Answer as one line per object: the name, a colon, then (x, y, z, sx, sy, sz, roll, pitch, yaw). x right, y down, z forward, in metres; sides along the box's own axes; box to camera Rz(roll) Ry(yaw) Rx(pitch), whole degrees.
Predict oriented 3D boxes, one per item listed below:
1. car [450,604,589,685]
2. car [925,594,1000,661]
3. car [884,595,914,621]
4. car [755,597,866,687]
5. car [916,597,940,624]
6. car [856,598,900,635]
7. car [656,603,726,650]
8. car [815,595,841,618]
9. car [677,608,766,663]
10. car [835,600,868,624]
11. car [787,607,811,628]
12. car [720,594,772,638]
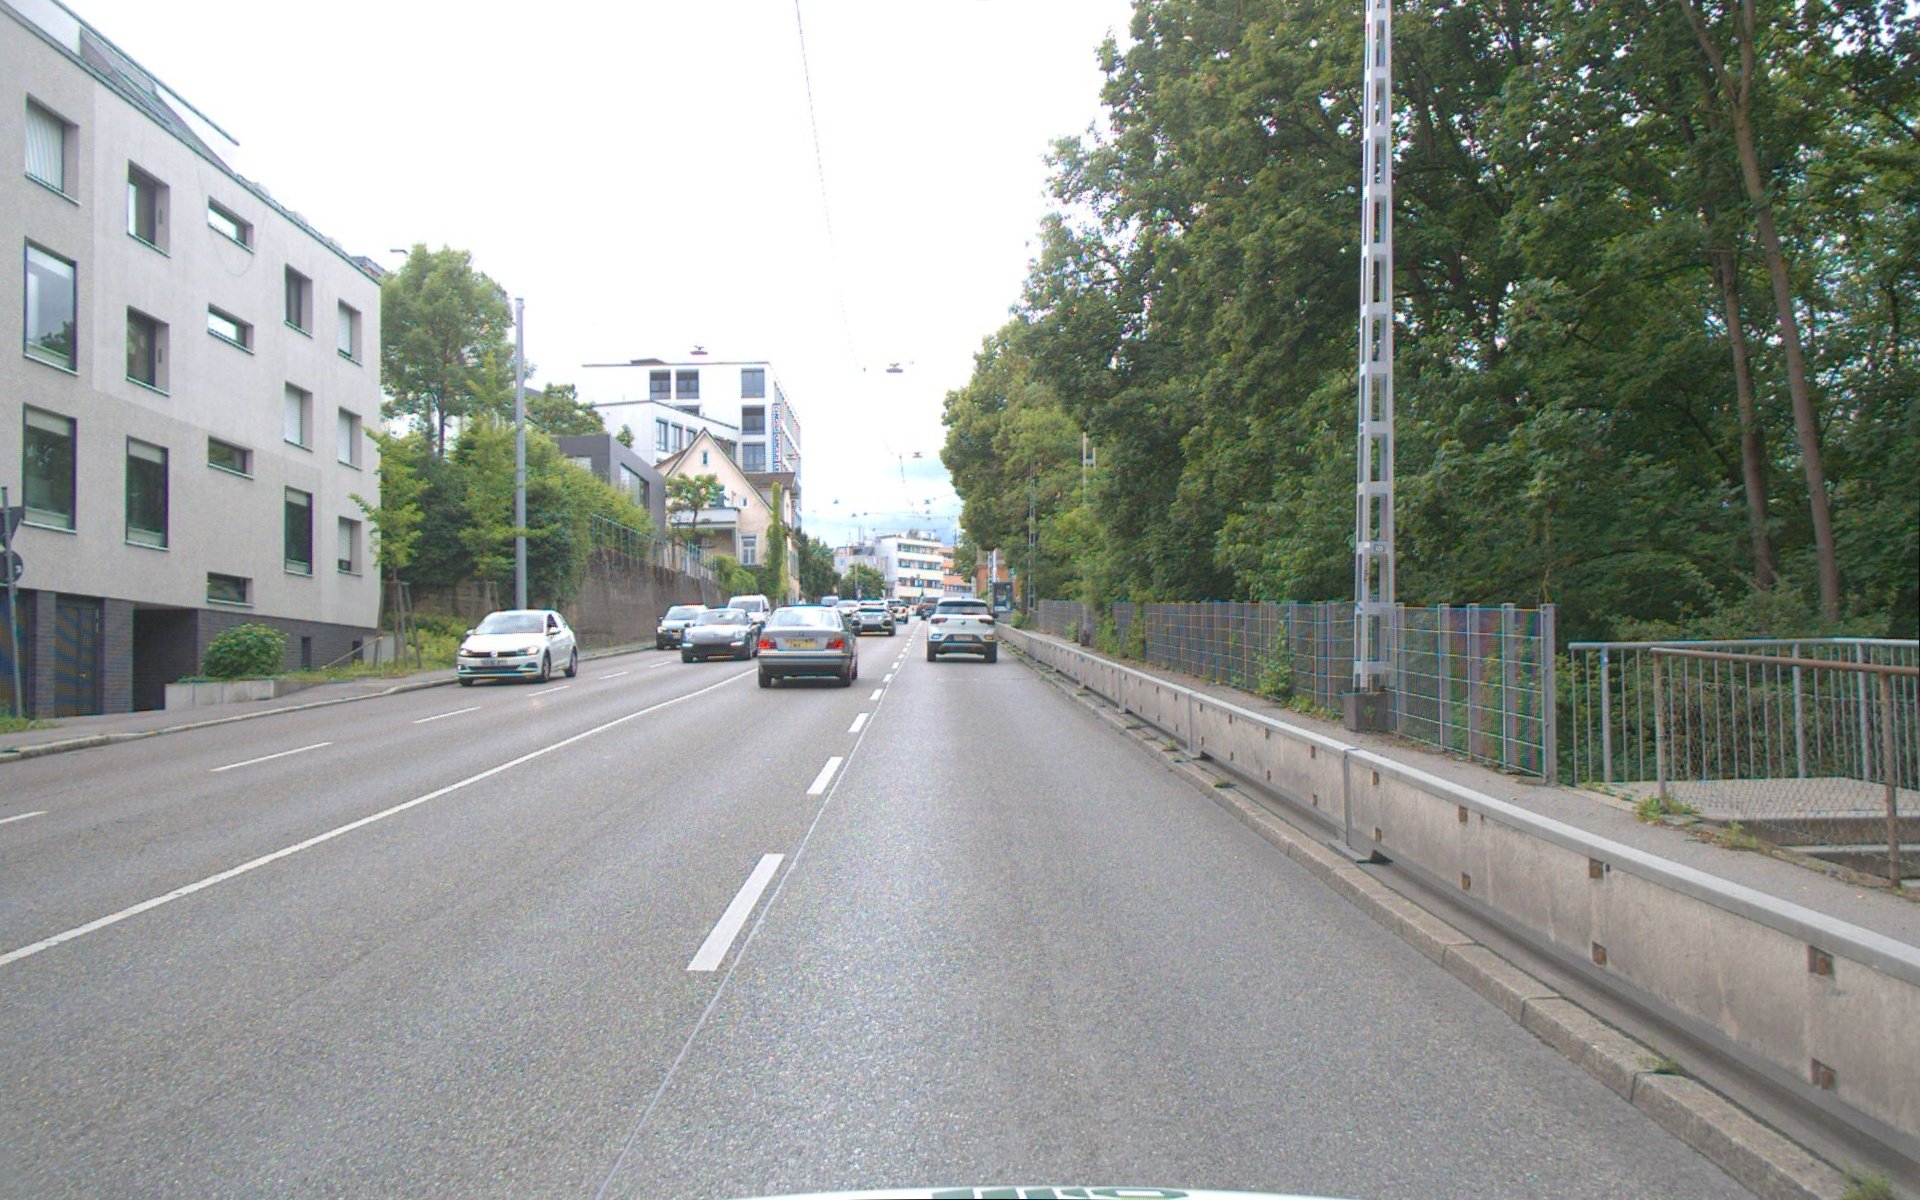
car: (-8.937, 0.869, 33.896, 1.737, 1.489, 4.190, -2, 0, -1)
car: (0.023, 0.664, 42.078, 1.744, 1.607, 3.998, 0, 0, -2)
car: (-3.604, 0.484, 98.545, 1.672, 1.489, 3.999, -1, 0, -1)
car: (-2.608, 0.714, 29.678, 1.672, 1.489, 3.999, 1, 0, -1)
car: (-2.221, 0.733, 114.376, 1.623, 1.796, 3.286, 0, 0, -1)
car: (-3.374, 0.660, 68.585, 1.672, 1.489, 3.999, -1, 0, -1)
car: (-9.219, 0.874, 56.984, 1.697, 1.489, 4.423, -2, 0, -1)
car: (-10.312, 0.509, 129.610, 1.779, 1.815, 4.494, 0, 0, -1)
car: (-6.126, 0.880, 42.806, 1.718, 1.291, 4.190, -2, 0, -1)
car: (-6.826, 0.758, 104.144, 1.778, 1.410, 4.462, -3, 0, -1)
car: (-13.619, 1.494, 140.059, 1.954, 1.731, 3.996, -1, 0, -5)
car: (-9.456, 0.702, 73.417, 1.697, 1.819, 4.866, -2, 0, -1)
